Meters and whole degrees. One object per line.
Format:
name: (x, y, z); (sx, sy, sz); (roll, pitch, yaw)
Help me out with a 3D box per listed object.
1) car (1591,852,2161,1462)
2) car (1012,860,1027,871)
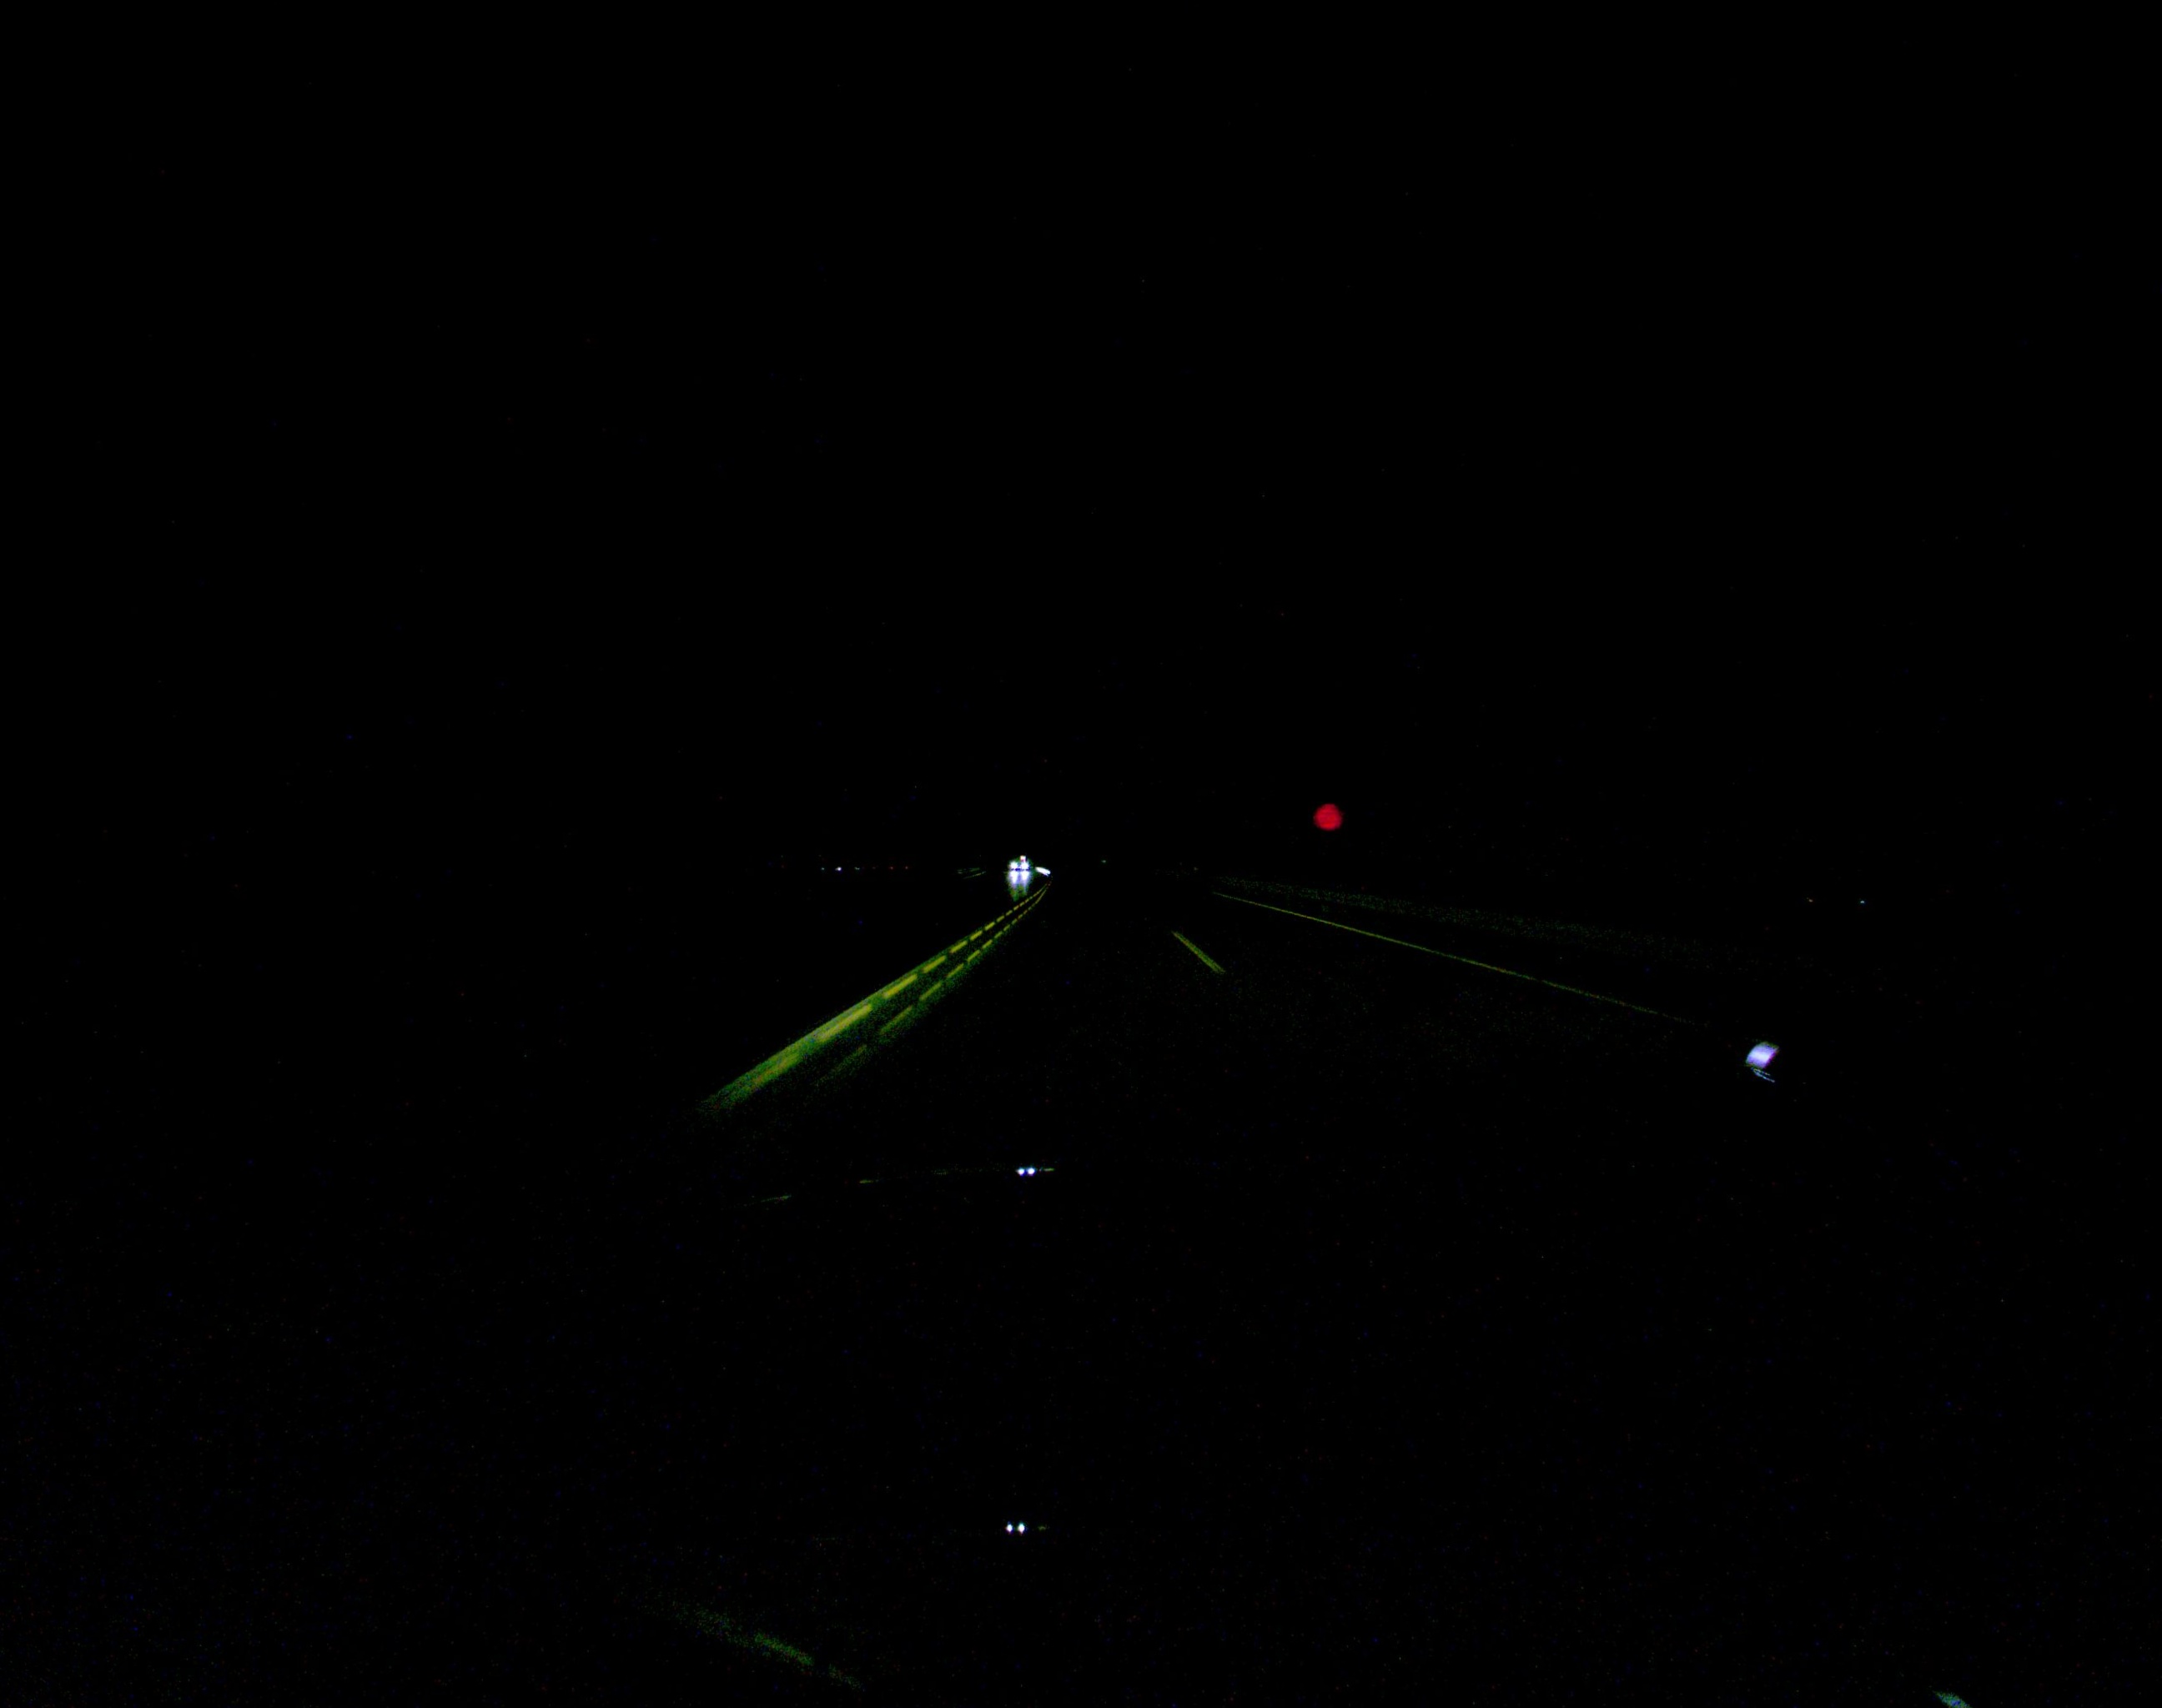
car: (3.499, 0.736, 1.797); (1.801, 1.426, 4.877); (-2, 0, 2)
car: (-8.468, 1.590, 111.750); (1.817, 1.516, 4.512); (-1, -1, -6)
